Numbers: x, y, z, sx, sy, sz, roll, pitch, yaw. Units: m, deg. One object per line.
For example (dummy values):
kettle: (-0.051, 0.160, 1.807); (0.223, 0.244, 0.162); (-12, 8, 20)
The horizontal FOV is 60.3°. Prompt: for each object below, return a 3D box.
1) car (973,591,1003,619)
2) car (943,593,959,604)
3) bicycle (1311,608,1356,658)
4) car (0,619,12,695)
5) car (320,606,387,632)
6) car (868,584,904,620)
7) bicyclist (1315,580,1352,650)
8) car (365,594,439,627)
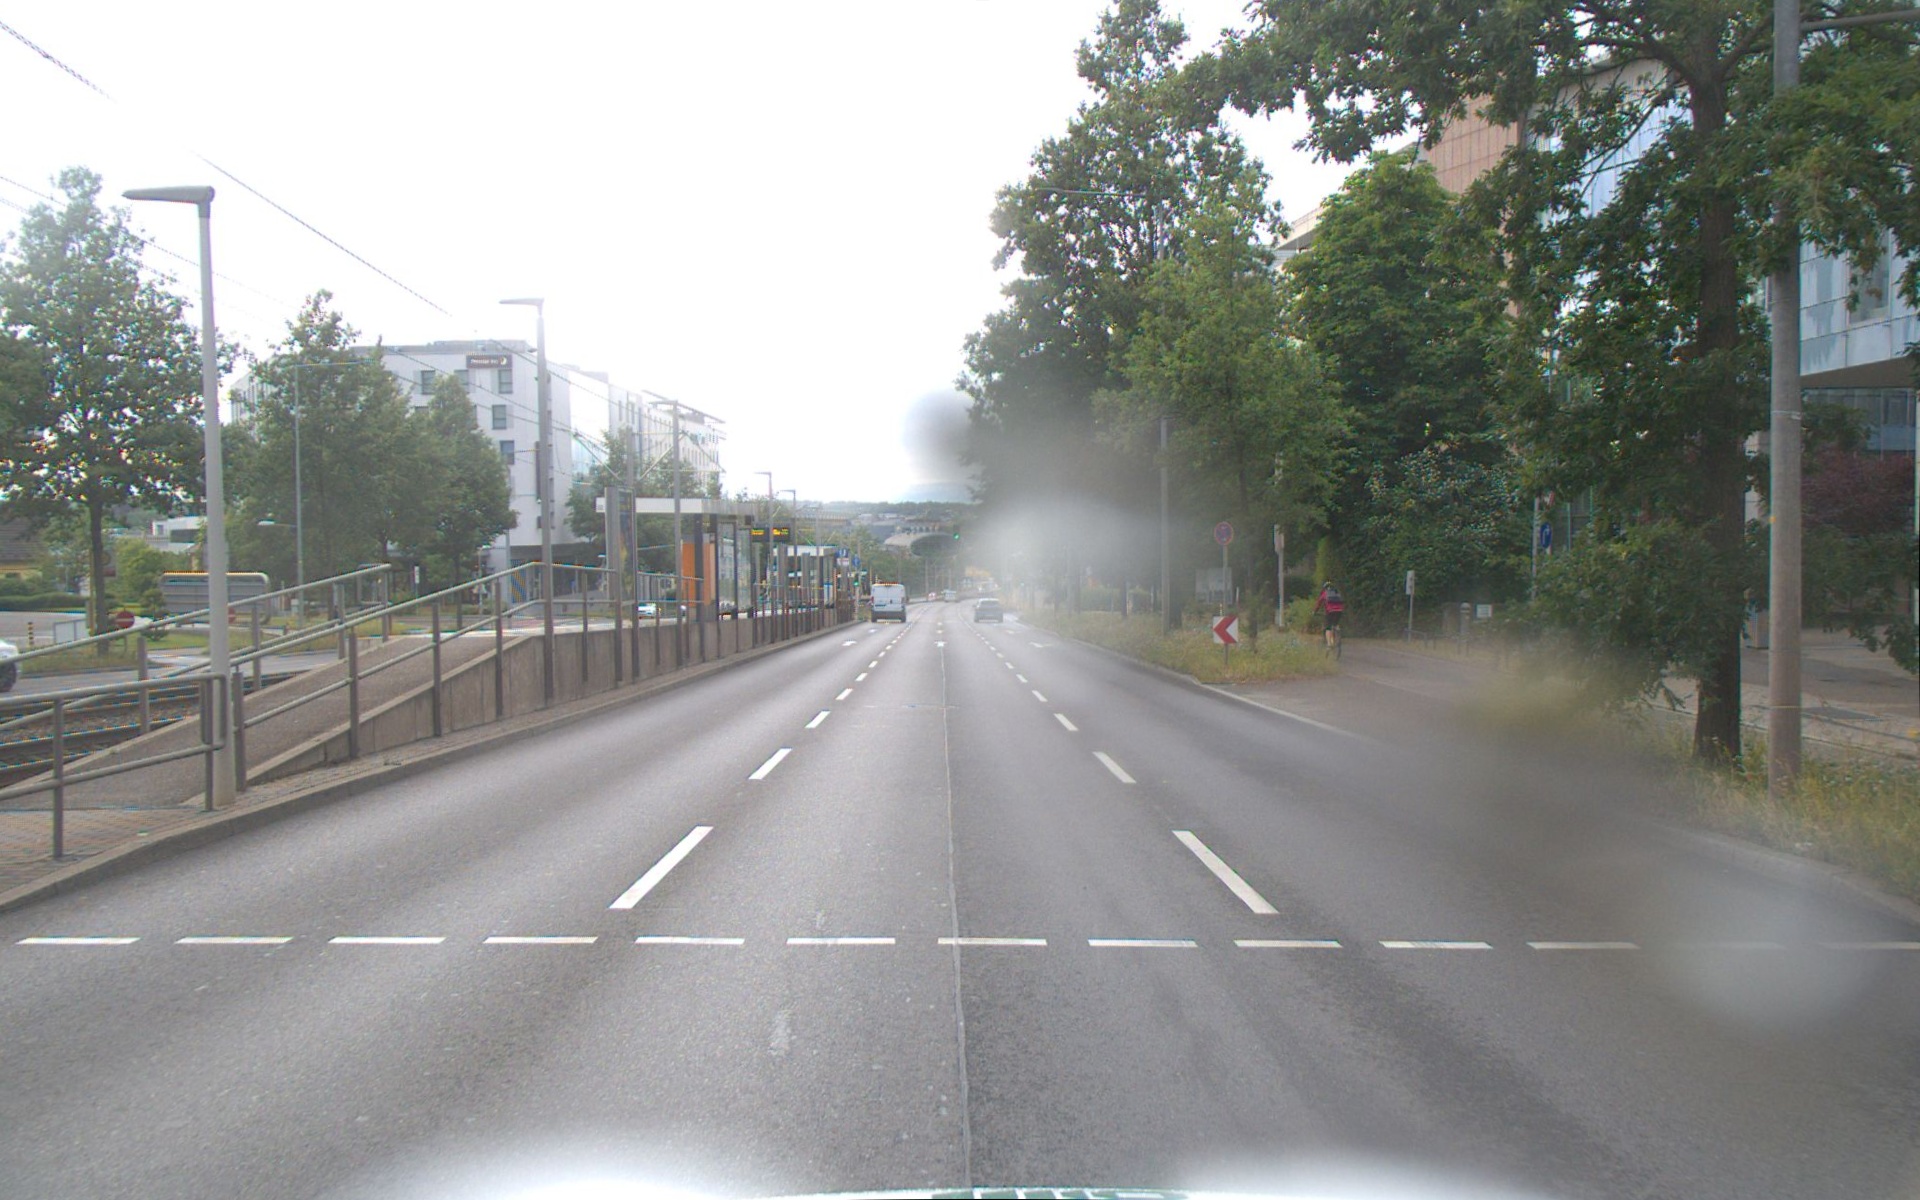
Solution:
car: (1.698, 0.305, 102.377); (1.738, 1.721, 3.844); (0, 0, -1)
car: (-1.151, -0.222, 219.100); (1.745, 1.414, 4.003); (0, 0, 5)
bicycle: (8.660, 0.749, 38.408); (0.569, 1.107, 1.905); (1, 0, -1)
car: (-19.239, 1.129, 30.284); (1.617, 1.461, 3.878); (-2, 0, -3)
car: (-33.730, 1.068, 91.990); (3.297, 1.411, 1.434); (0, 0, 16)
car: (-4.442, 0.110, 99.792); (2.050, 2.090, 4.605); (0, 0, -1)
bicyclist: (8.657, 0.344, 38.352); (0.633, 1.606, 0.854); (1, 0, -1)
car: (-34.594, 0.652, 102.605); (3.908, 2.049, 1.999); (0, 0, -4)
